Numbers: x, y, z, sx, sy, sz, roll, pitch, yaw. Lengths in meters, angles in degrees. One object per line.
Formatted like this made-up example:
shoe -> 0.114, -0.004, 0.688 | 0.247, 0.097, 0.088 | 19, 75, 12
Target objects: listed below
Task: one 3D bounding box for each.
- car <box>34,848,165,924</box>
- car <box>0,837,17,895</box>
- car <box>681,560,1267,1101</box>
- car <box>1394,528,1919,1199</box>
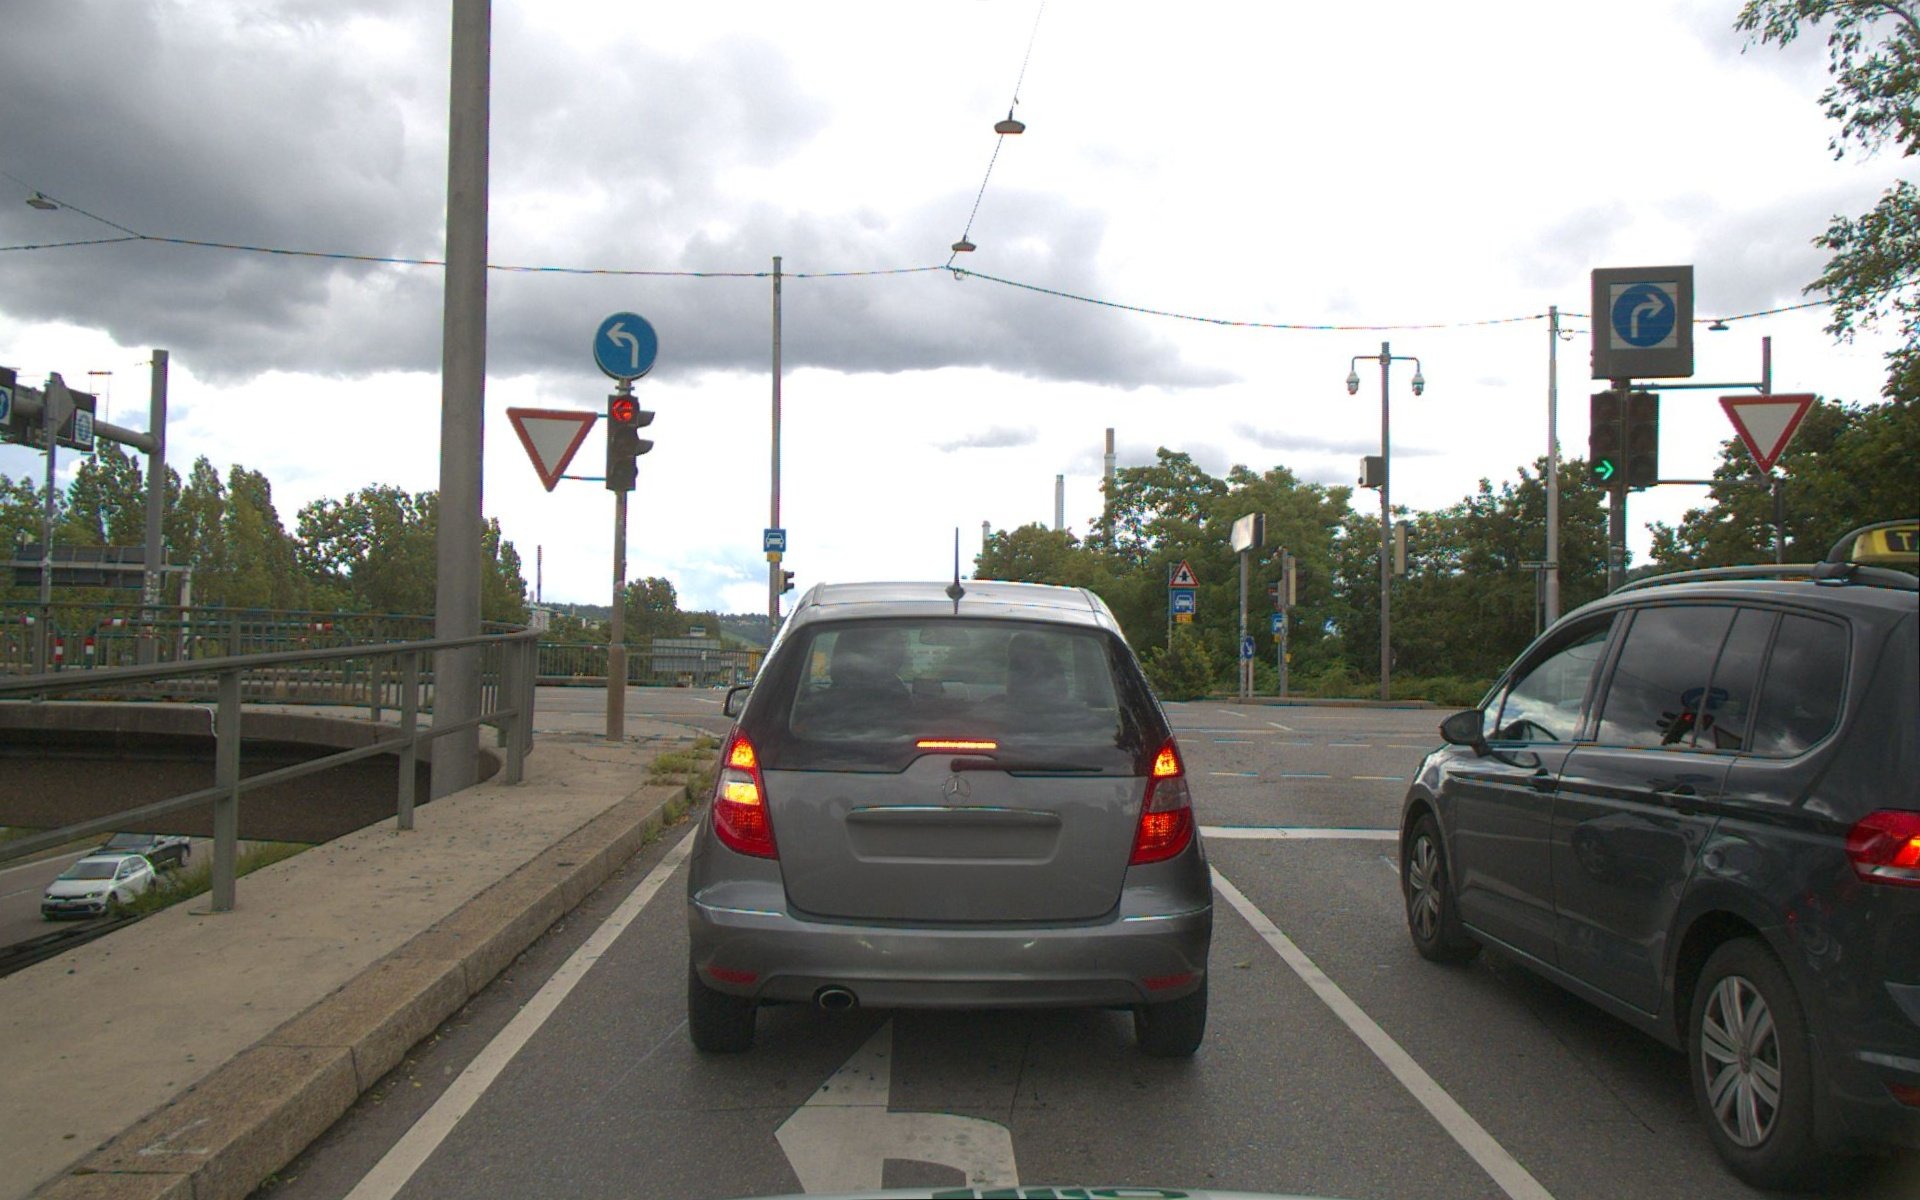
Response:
car -> -24.032, 7.966, 46.344 | 1.739, 1.520, 3.895 | -2, -2, -3
car -> -30.194, 8.121, 48.964 | 1.953, 1.654, 4.577 | -2, -2, -1
car -> 0.026, 0.688, 6.653 | 1.704, 1.570, 3.540 | 1, 0, -1
car -> 2.967, 0.700, 5.627 | 1.760, 1.682, 4.148 | 1, 0, -2
